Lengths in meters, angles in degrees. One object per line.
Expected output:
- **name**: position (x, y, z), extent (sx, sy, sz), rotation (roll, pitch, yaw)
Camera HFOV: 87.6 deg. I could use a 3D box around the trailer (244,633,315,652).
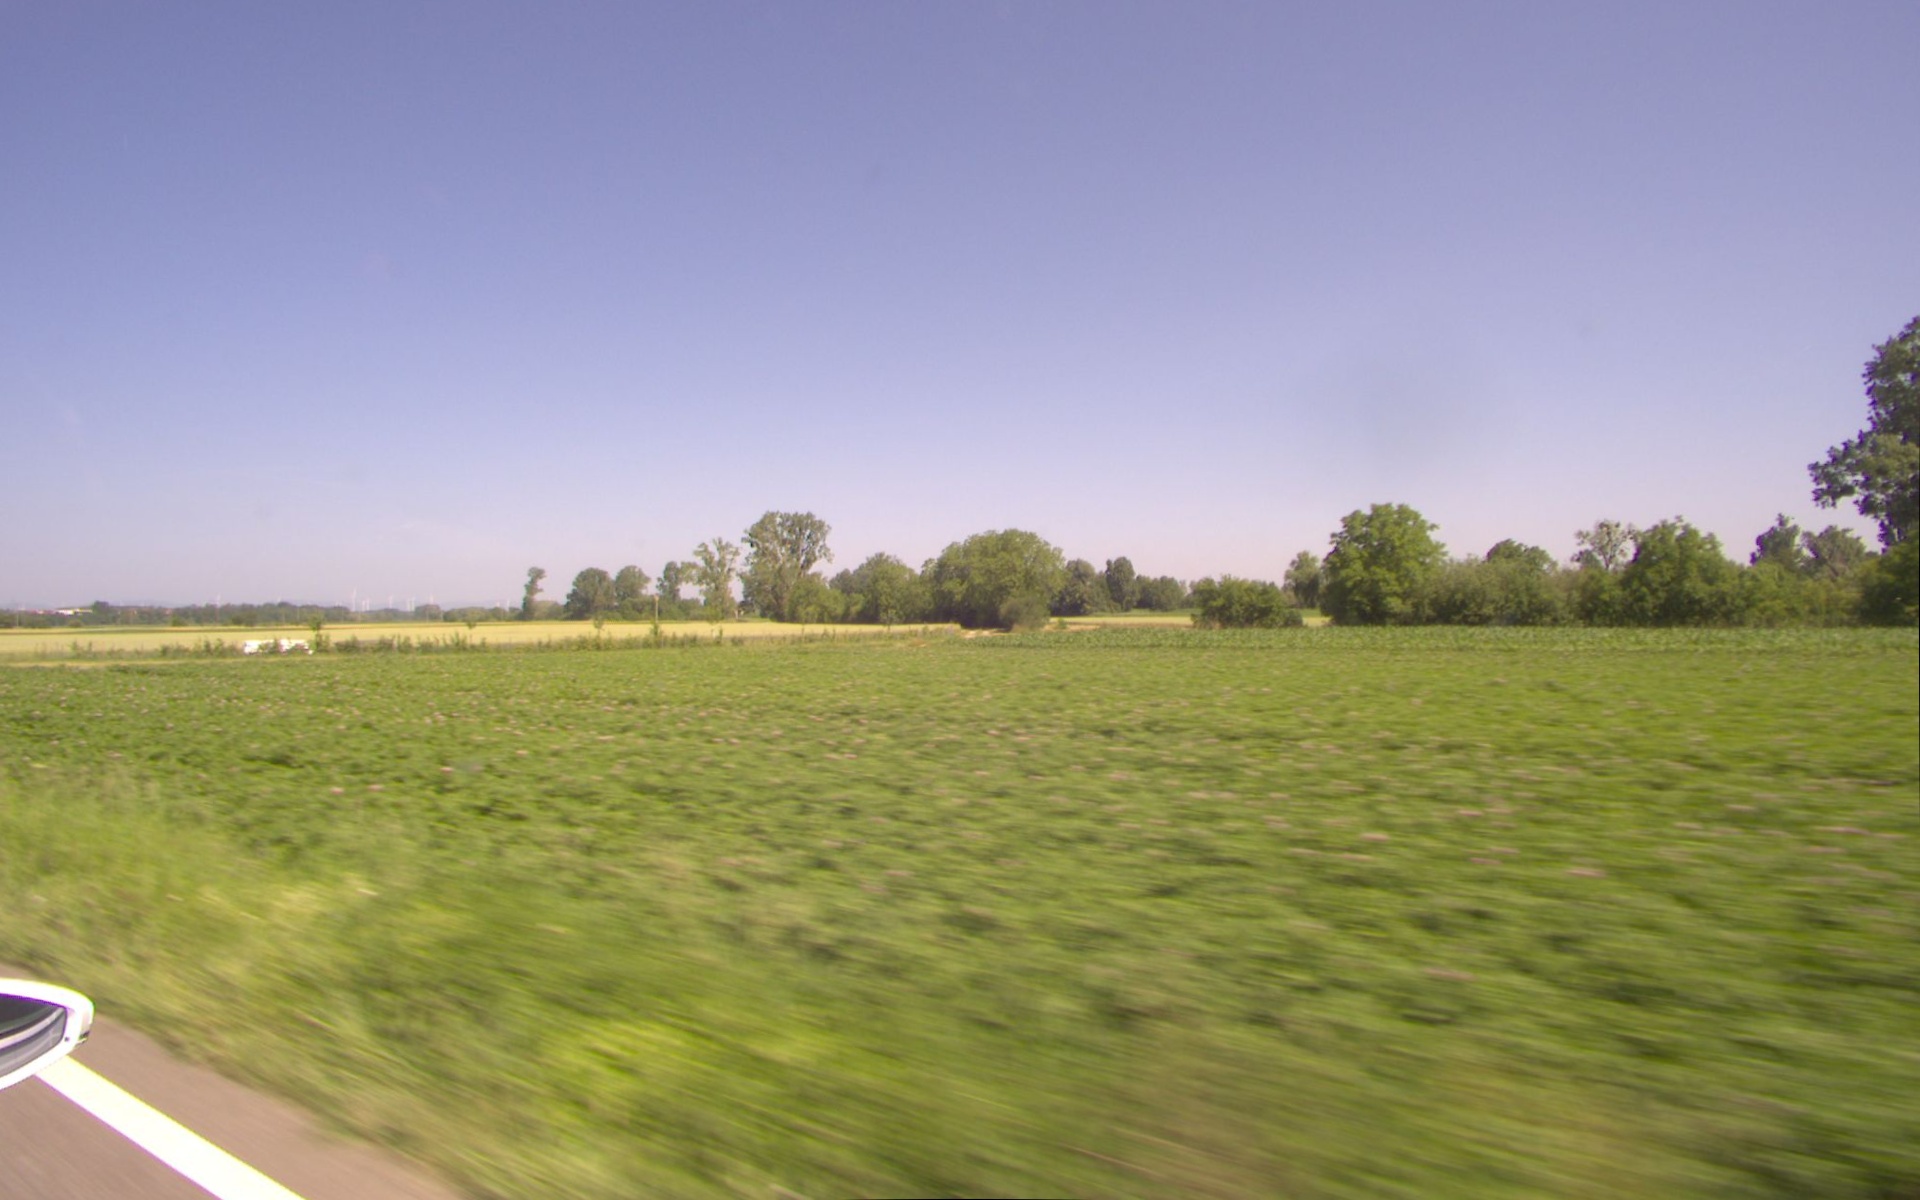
- **trailer**: position (-44.598, 2.796, 65.674), extent (1.646, 1.204, 3.566), rotation (-2, -3, 44)
